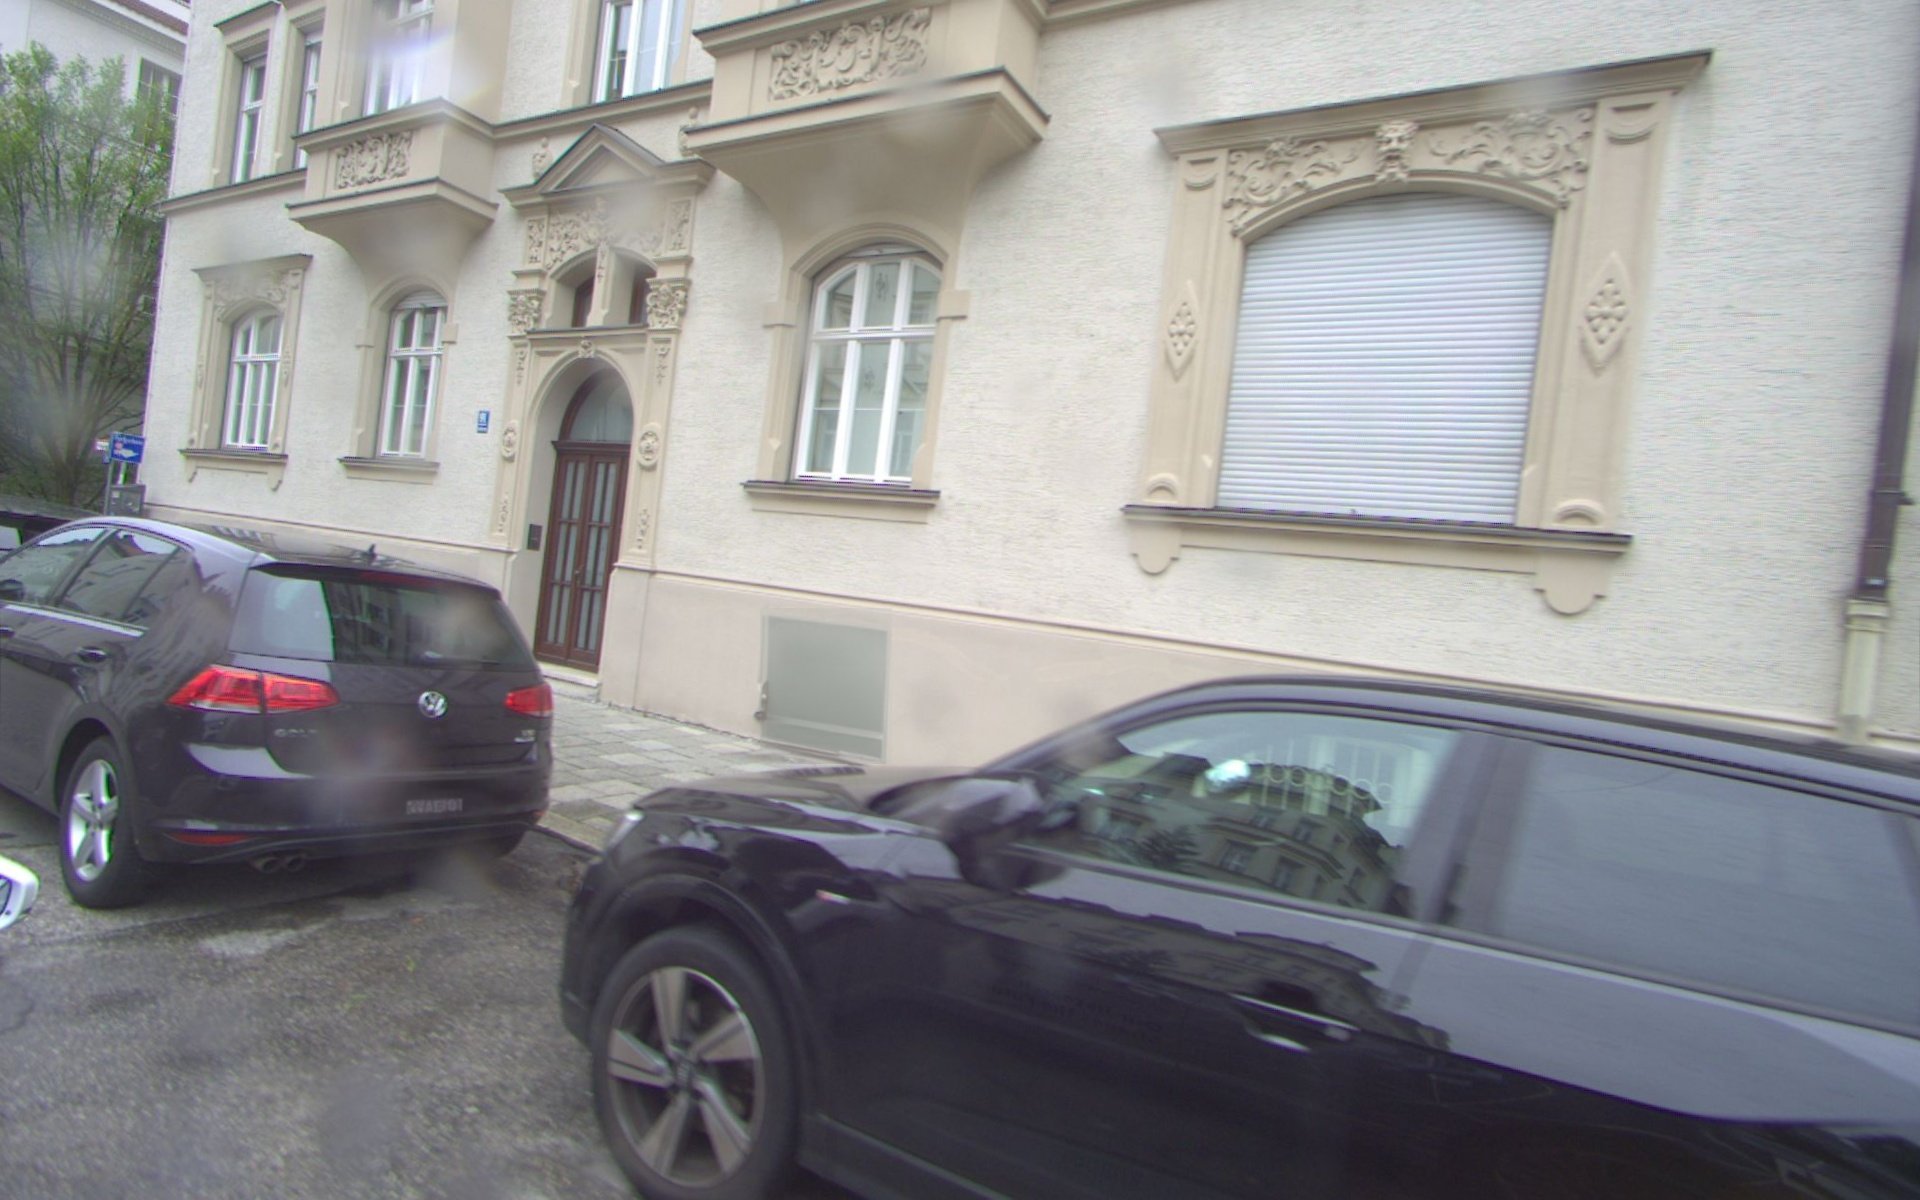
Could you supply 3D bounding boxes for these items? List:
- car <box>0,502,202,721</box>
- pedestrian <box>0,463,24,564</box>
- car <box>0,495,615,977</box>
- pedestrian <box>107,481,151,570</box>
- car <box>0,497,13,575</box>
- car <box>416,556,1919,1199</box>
[{"bbox_3d":[-7.855,-0.095,7.799,3.956,1.413,1.746,7,-2,32],"label":"car"},{"bbox_3d":[-18.097,-1.654,18.589,0.667,1.840,0.861,8,1,30],"label":"pedestrian"},{"bbox_3d":[-3.755,0.358,4.979,3.934,1.434,1.644,8,-1,32],"label":"car"},{"bbox_3d":[-17.717,-1.583,21.457,0.550,1.817,0.568,6,2,-38],"label":"pedestrian"},{"bbox_3d":[-12.105,-0.658,10.584,4.011,1.515,1.797,8,-2,28],"label":"car"},{"bbox_3d":[0.672,0.940,2.528,3.892,1.534,1.746,8,-1,31],"label":"car"}]
